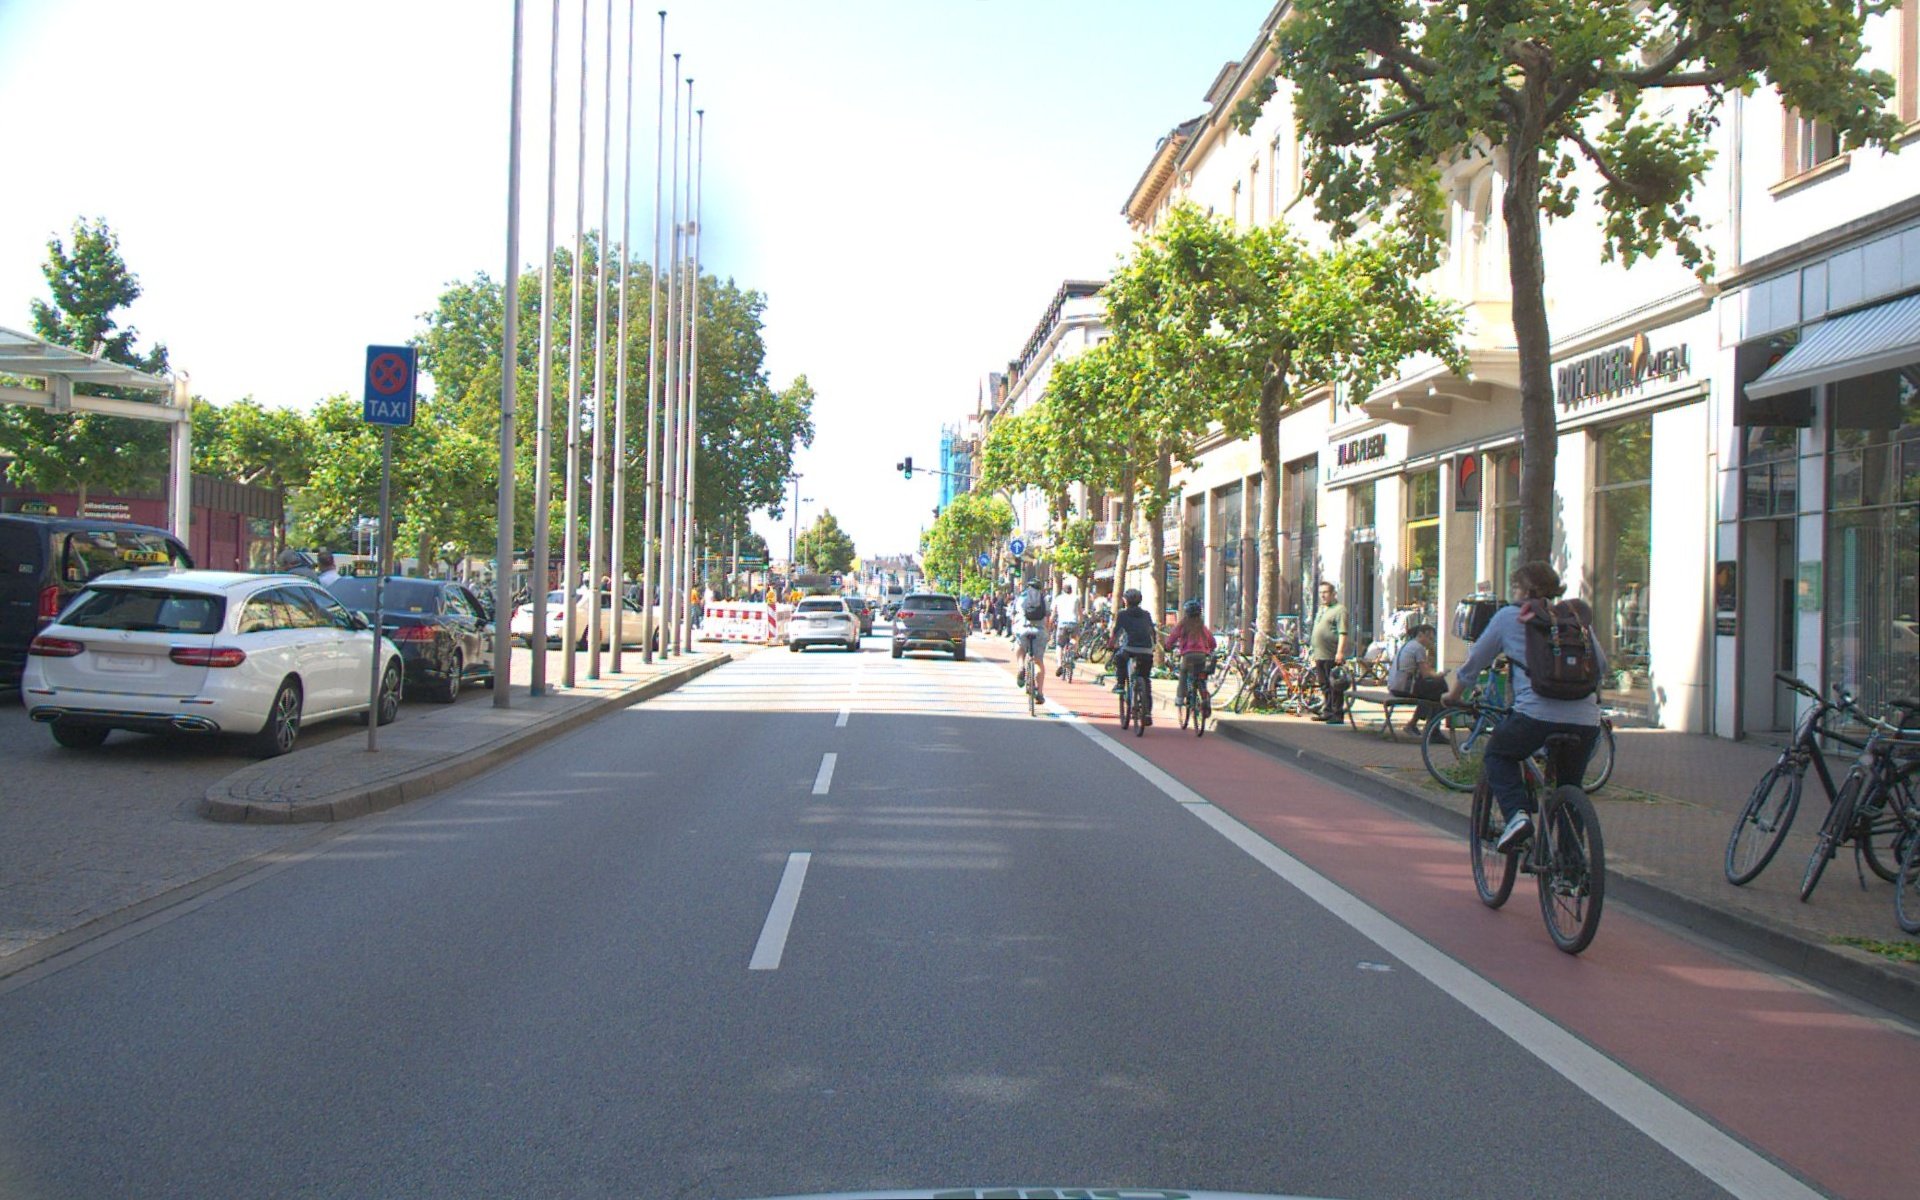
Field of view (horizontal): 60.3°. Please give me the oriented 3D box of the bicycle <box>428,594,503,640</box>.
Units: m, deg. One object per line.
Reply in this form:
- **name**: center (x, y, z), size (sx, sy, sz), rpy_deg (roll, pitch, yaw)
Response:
- **bicycle**: center (-12.643, 0.430, 42.313), size (1.747, 1.124, 0.562), rpy_deg (2, 0, -6)

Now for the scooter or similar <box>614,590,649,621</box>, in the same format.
- **scooter or similar**: center (-15.746, 0.264, 79.298), size (1.252, 1.445, 1.037), rpy_deg (1, -1, 28)

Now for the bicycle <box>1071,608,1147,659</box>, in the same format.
- **bicycle**: center (3.500, 0.779, 38.841), size (1.693, 1.128, 0.736), rpy_deg (2, 0, -1)

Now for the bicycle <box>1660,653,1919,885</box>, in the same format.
- **bicycle**: center (4.819, 0.921, 8.994), size (1.808, 1.146, 0.630), rpy_deg (4, -1, -14)

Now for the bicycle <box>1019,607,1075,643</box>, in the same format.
- **bicycle**: center (2.831, 0.812, 53.831), size (1.747, 1.142, 0.562), rpy_deg (1, 0, -6)

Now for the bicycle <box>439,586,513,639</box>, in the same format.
- **bicycle**: center (-12.739, 0.336, 43.569), size (1.747, 1.331, 0.562), rpy_deg (2, 0, -6)

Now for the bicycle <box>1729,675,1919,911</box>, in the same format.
- **bicycle**: center (4.938, 0.987, 8.501), size (1.808, 1.112, 0.562), rpy_deg (3, -1, -14)

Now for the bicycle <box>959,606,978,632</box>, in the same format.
- **bicycle**: center (0.354, 0.765, 66.384), size (0.634, 1.015, 2.029), rpy_deg (1, 0, -3)

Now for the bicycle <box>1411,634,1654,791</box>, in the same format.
- **bicycle**: center (4.649, 0.914, 13.444), size (1.807, 1.146, 0.496), rpy_deg (3, 1, -11)

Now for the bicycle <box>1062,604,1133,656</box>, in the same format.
- **bicycle**: center (3.386, 0.736, 40.884), size (1.693, 1.238, 0.477), rpy_deg (2, 0, -1)

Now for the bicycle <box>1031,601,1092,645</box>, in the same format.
- **bicycle**: center (3.225, 0.722, 52.372), size (1.796, 1.331, 0.684), rpy_deg (2, 0, -23)

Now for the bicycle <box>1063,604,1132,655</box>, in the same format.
- **bicycle**: center (3.504, 0.755, 42.106), size (1.693, 1.238, 0.477), rpy_deg (2, 0, -1)

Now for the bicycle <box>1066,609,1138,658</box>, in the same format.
- **bicycle**: center (3.482, 0.815, 40.527), size (1.693, 1.128, 0.477), rpy_deg (2, 0, -1)

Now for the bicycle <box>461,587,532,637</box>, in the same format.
- **bicycle**: center (-12.825, 0.321, 45.788), size (1.747, 1.331, 0.662), rpy_deg (2, 0, -6)

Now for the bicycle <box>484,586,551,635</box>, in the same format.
- **bicycle**: center (-13.154, 0.307, 49.182), size (1.747, 1.371, 0.740), rpy_deg (3, 0, -6)

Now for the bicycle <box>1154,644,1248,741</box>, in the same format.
- **bicycle**: center (2.795, 1.056, 19.405), size (0.588, 0.942, 2.085), rpy_deg (0, 2, -6)

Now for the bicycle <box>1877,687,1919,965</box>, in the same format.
- **bicycle**: center (4.817, 0.966, 6.779), size (1.803, 1.112, 0.564), rpy_deg (3, -1, -3)

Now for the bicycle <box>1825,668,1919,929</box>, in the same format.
- **bicycle**: center (5.110, 0.946, 7.768), size (1.810, 1.146, 0.762), rpy_deg (4, -2, -16)

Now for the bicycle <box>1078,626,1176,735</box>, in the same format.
- **bicycle**: center (1.925, 0.907, 19.323), size (0.685, 1.146, 2.079), rpy_deg (3, 0, -6)

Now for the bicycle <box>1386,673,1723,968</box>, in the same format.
- **bicycle**: center (2.819, 0.992, 8.117), size (0.685, 1.146, 2.079), rpy_deg (3, 0, -6)

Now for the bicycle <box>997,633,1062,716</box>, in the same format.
- **bicycle**: center (0.880, 0.934, 21.382), size (0.618, 0.997, 2.087), rpy_deg (1, -1, -3)

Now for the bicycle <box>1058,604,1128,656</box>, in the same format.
- **bicycle**: center (3.345, 0.746, 41.607), size (1.693, 1.238, 0.477), rpy_deg (2, 0, -1)

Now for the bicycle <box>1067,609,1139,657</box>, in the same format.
- **bicycle**: center (3.467, 0.798, 40.107), size (1.693, 1.128, 0.402), rpy_deg (2, 0, -1)

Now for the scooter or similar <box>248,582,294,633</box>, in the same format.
- **scooter or similar**: center (-17.087, 0.195, 41.051), size (0.258, 1.235, 1.304), rpy_deg (2, 0, 17)

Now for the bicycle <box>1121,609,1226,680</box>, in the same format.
- **bicycle**: center (3.902, 0.810, 30.274), size (1.802, 1.206, 0.670), rpy_deg (3, 0, 2)

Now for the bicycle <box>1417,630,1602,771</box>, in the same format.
- **bicycle**: center (5.040, 0.907, 15.131), size (1.756, 1.218, 0.572), rpy_deg (2, 0, -31)

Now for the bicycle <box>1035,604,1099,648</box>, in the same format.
- **bicycle**: center (3.124, 0.750, 48.548), size (1.806, 1.222, 0.608), rpy_deg (2, 0, -1)

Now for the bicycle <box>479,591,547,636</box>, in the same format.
- **bicycle**: center (-12.733, 0.383, 47.182), size (1.747, 1.236, 0.662), rpy_deg (2, 0, -6)

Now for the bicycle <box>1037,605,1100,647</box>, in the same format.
- **bicycle**: center (3.211, 0.777, 49.184), size (1.806, 1.184, 0.659), rpy_deg (2, 0, -1)

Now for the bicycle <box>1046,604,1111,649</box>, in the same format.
- **bicycle**: center (3.381, 0.752, 47.249), size (1.806, 1.222, 0.474), rpy_deg (2, 0, -1)

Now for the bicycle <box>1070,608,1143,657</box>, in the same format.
- **bicycle**: center (3.511, 0.770, 39.694), size (1.693, 1.128, 0.402), rpy_deg (2, 0, -1)

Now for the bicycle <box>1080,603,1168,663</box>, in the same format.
- **bicycle**: center (3.701, 0.737, 37.369), size (1.892, 1.270, 0.736), rpy_deg (2, 0, -1)

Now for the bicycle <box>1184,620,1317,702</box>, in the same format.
- **bicycle**: center (4.232, 0.878, 24.178), size (1.802, 1.116, 0.794), rpy_deg (2, 0, 2)

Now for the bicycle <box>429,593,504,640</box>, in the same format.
- **bicycle**: center (-12.826, 0.426, 42.993), size (1.747, 1.152, 0.562), rpy_deg (2, 0, -6)

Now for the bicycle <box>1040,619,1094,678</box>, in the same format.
- **bicycle**: center (1.993, 0.884, 31.011), size (0.759, 1.023, 2.328), rpy_deg (1, 0, -2)

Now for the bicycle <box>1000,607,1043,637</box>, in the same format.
- **bicycle**: center (2.327, 0.840, 62.870), size (0.595, 1.101, 1.815), rpy_deg (-1, 0, -37)

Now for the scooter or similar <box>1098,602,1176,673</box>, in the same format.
- **scooter or similar**: center (3.469, 0.733, 32.441), size (1.443, 1.296, 0.670), rpy_deg (3, 0, 8)

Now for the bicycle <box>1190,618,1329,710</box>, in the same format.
- **bicycle**: center (4.059, 0.861, 22.513), size (1.801, 1.146, 0.498), rpy_deg (3, 0, 8)

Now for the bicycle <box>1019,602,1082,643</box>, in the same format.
- **bicycle**: center (2.896, 0.720, 52.954), size (1.906, 1.279, 0.700), rpy_deg (2, 0, -23)

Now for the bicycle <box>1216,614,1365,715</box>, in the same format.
- **bicycle**: center (4.272, 0.825, 21.457), size (1.801, 1.218, 0.674), rpy_deg (2, 0, 4)
